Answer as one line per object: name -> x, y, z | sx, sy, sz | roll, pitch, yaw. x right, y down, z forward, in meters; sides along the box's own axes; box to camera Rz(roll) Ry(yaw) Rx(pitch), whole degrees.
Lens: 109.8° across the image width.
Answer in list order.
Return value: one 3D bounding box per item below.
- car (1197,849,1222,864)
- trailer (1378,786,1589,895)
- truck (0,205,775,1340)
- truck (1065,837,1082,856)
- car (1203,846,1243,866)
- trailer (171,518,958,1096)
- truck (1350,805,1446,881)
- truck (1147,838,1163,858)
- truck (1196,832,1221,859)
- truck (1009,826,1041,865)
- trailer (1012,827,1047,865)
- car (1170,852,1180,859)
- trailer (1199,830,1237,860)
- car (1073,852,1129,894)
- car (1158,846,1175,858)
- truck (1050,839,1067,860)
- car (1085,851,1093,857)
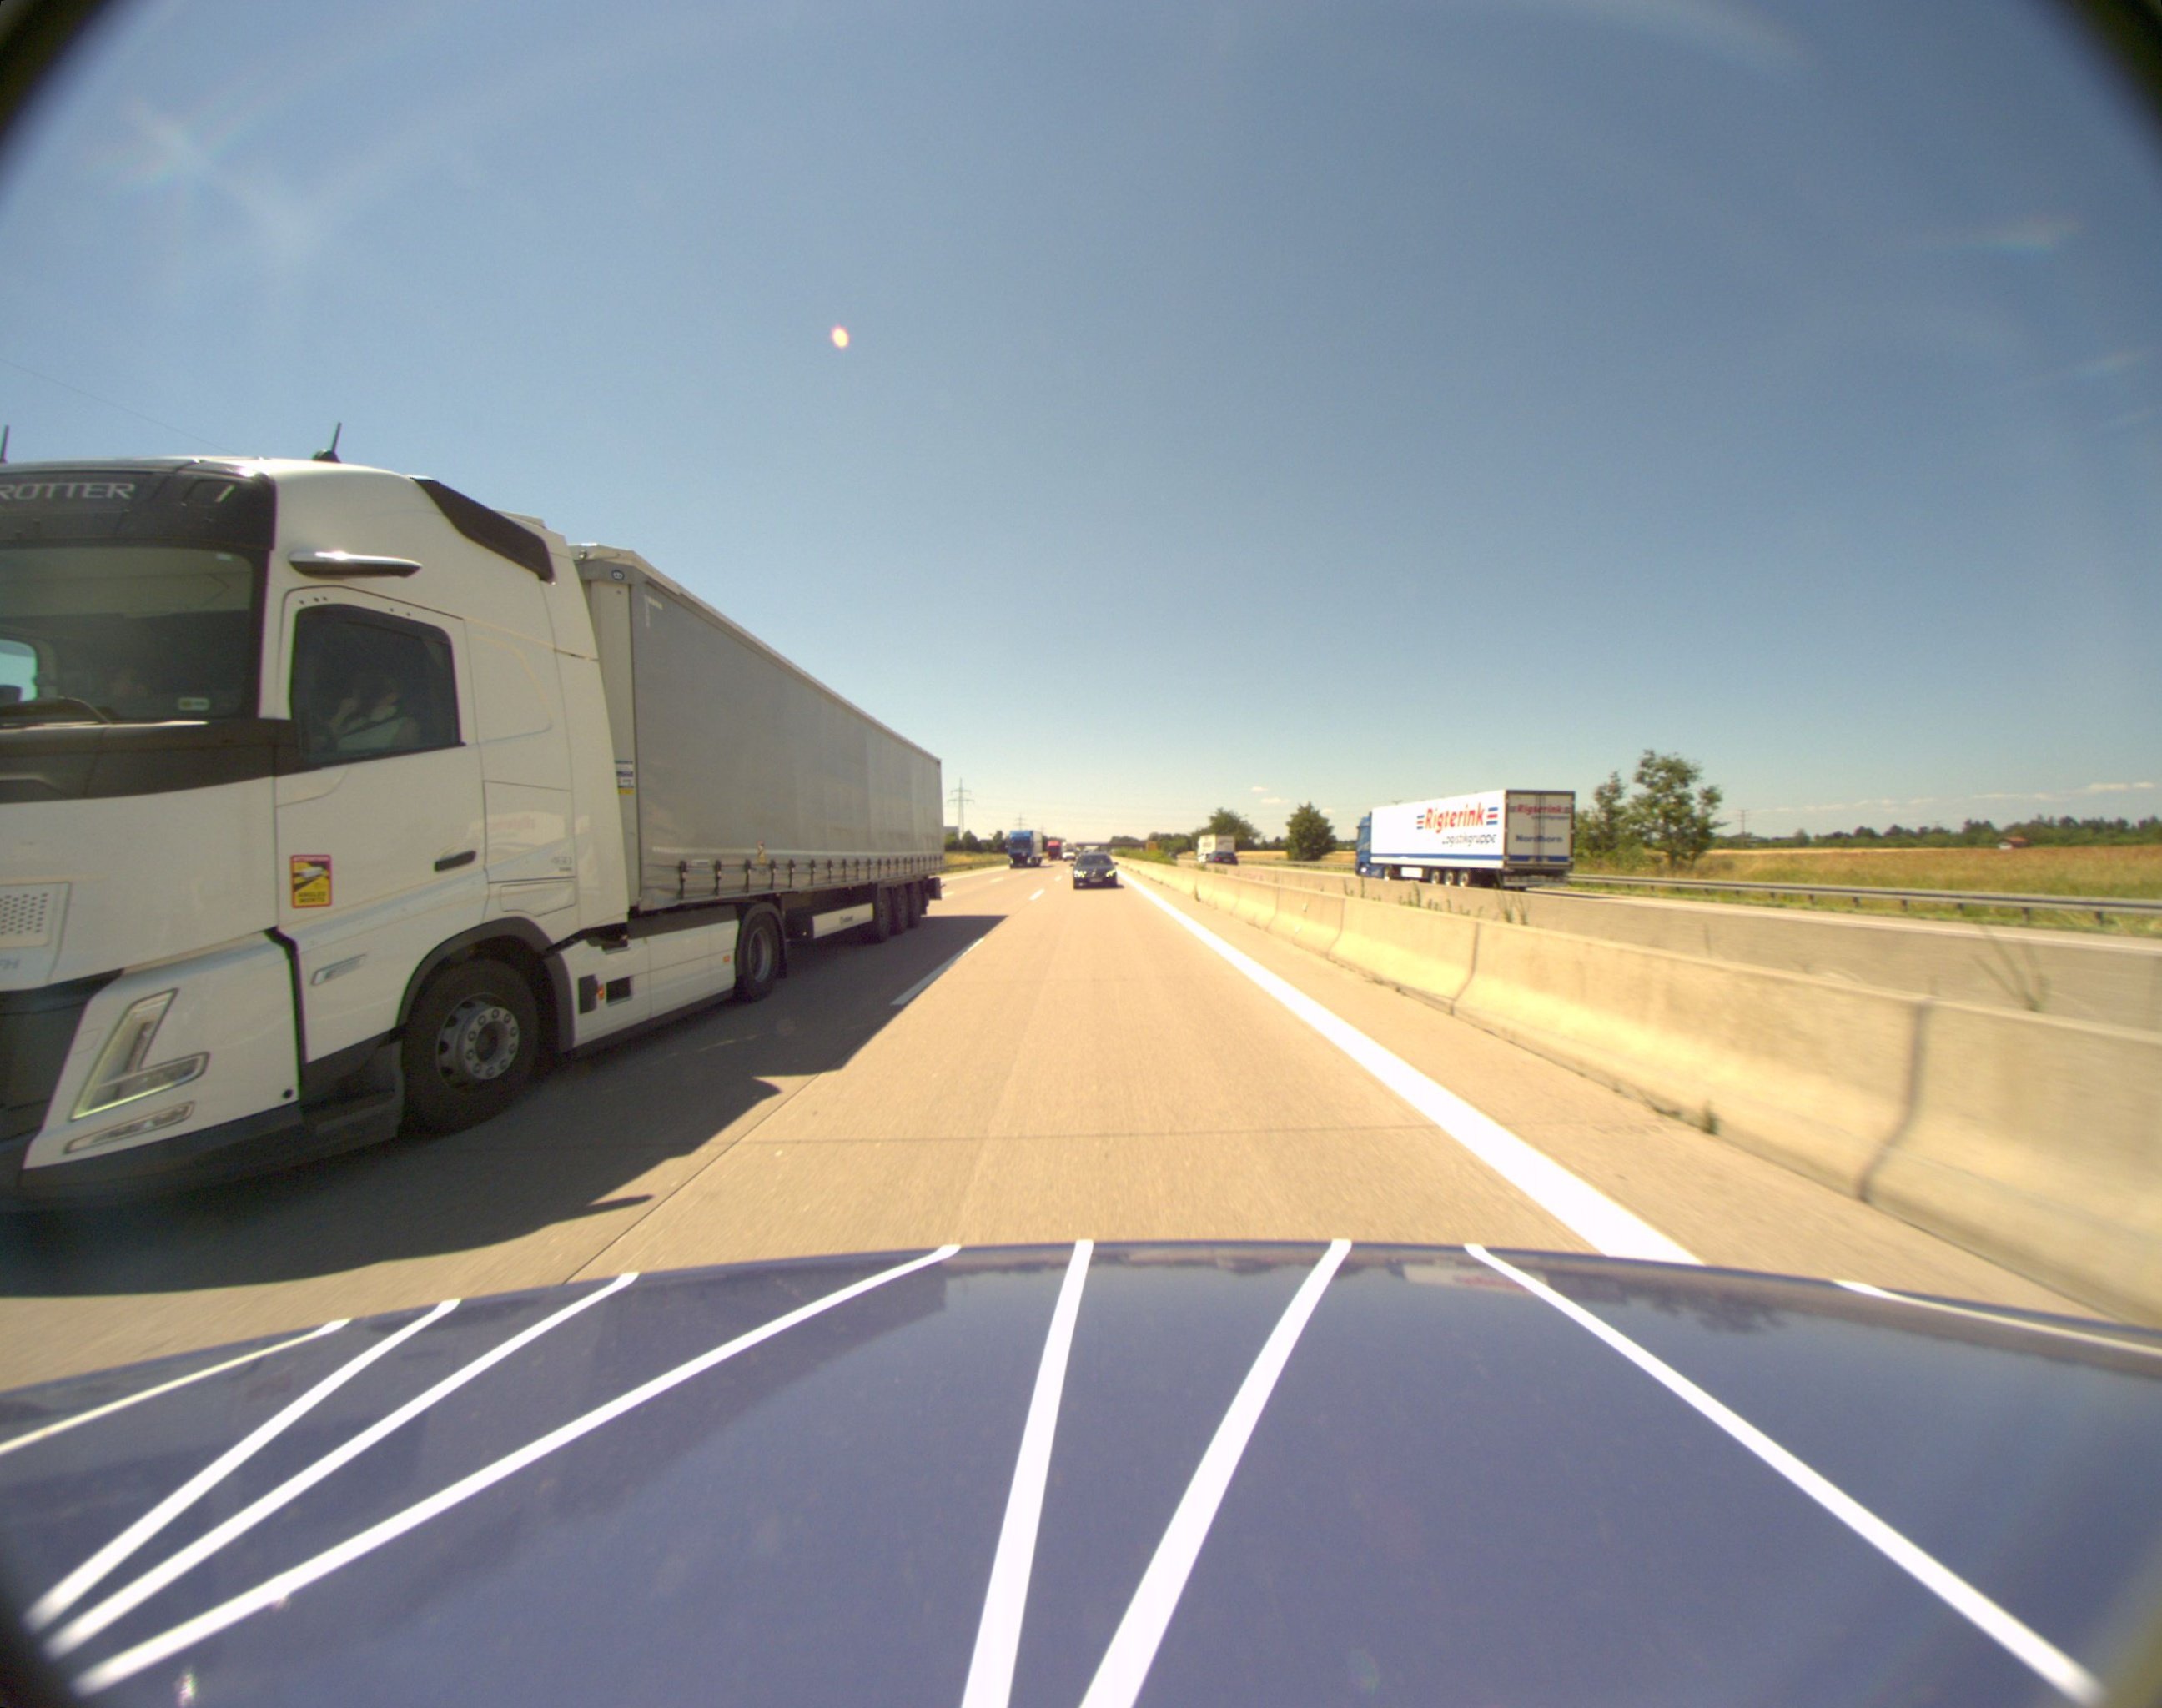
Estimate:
car -> 14.390, 0.227, 85.581 | 1.998, 1.574, 4.369 | 3, 0, 0
trailer -> 17.284, -0.530, 34.269 | 2.916, 3.886, 12.509 | -2, 0, 1
truck -> -4.932, -0.234, 5.472 | 2.992, 4.039, 5.477 | -2, 1, 1
truck -> -1.333, -1.309, 137.002 | 2.784, 3.328, 7.812 | -2, 0, 0
car -> 10.106, 0.100, 54.534 | 1.903, 1.318, 5.069 | -2, 0, 1
trailer -> -4.858, -0.368, 12.568 | 3.025, 4.037, 14.205 | -2, 0, 1
truck -> 17.329, -0.582, 41.956 | 2.904, 3.841, 5.684 | -2, 1, 1
truck -> 15.929, -1.315, 163.634 | 2.750, 4.056, 5.540 | -2, 1, 1
truck -> 18.873, -1.266, 112.618 | 2.777, 3.817, 4.451 | -2, 1, 1
truck -> -6.040, -0.874, 82.834 | 2.757, 4.020, 5.466 | -2, 1, 1
trailer -> -5.901, -0.920, 89.067 | 2.715, 4.020, 12.901 | -2, 0, 1
car -> 15.843, 0.250, 127.768 | 1.306, 1.056, 2.898 | -2, 0, 1
trailer -> 18.832, -1.209, 105.421 | 2.777, 3.780, 13.827 | -2, 0, 1
car -> 0.730, 0.672, 30.237 | 1.998, 1.462, 6.347 | 0, 0, 0
car -> 11.074, -0.227, 98.120 | 1.731, 1.476, 4.117 | -2, 0, 1
truck -> -4.829, -1.045, 162.887 | 2.855, 4.298, 10.886 | -2, 0, 1
car -> 2.030, 0.036, 191.409 | 1.683, 1.444, 3.564 | -2, 0, 2
